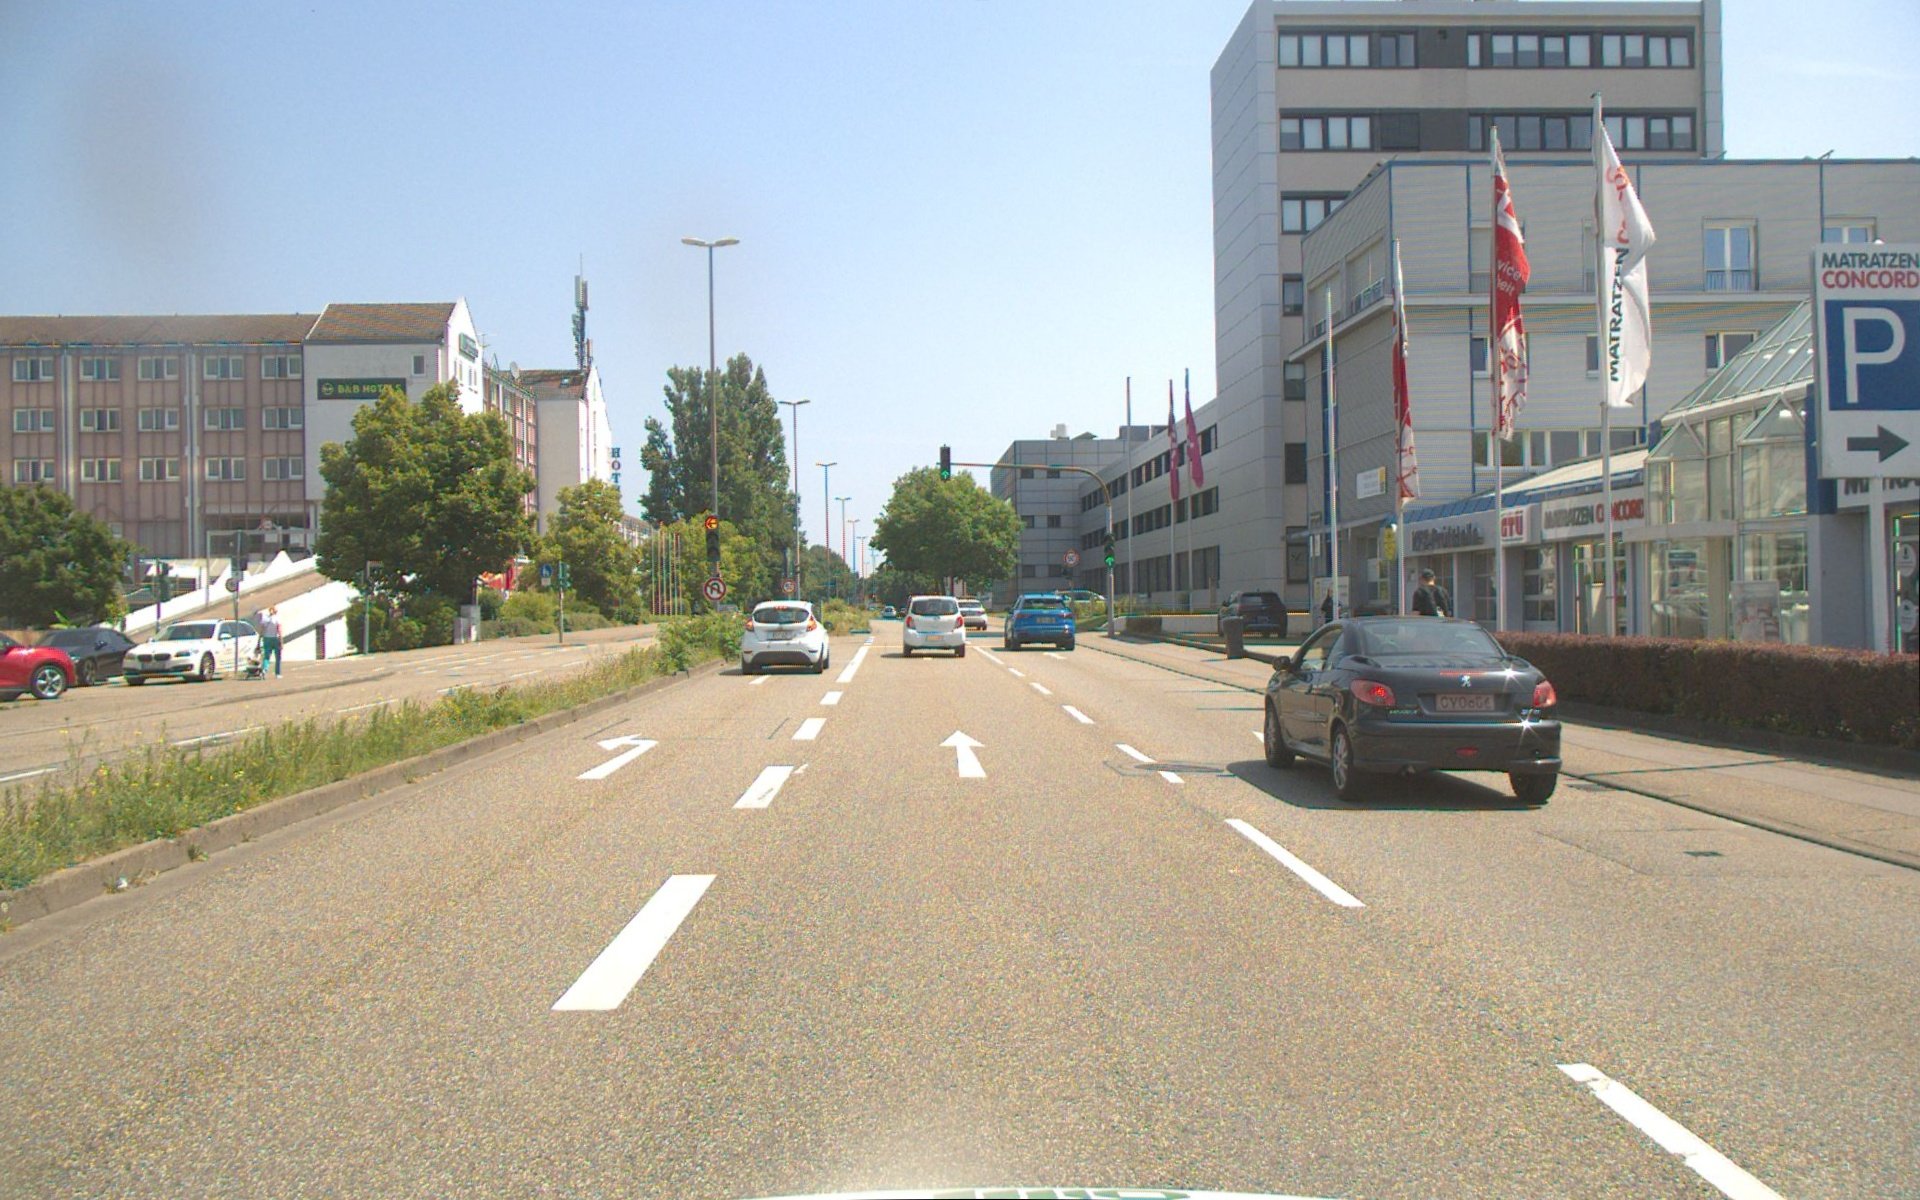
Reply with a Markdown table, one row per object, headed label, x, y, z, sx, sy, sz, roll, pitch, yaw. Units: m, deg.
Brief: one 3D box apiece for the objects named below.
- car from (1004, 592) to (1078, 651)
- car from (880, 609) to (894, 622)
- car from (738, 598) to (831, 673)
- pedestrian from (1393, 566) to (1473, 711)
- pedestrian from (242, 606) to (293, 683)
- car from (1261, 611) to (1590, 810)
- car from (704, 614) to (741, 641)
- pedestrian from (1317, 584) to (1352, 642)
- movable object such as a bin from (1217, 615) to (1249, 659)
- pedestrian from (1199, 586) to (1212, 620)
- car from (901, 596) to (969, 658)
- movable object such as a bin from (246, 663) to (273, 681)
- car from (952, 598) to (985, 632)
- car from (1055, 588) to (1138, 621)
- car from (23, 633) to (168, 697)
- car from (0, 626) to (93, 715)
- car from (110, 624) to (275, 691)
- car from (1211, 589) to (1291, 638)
| label | x | y | z | sx | sy | sz | roll | pitch | yaw |
| --- | --- | --- | --- | --- | --- | --- | --- | --- | --- |
| car | 2.326 | 0.611 | 48.268 | 1.791 | 1.608 | 3.603 | -1 | 0 | -3 |
| car | -10.195 | 2.191 | 231.194 | 1.783 | 1.691 | 3.997 | -1 | 0 | -3 |
| car | -3.636 | 0.711 | 34.779 | 1.654 | 1.459 | 3.710 | -1 | 0 | -2 |
| pedestrian | 6.339 | 0.507 | 22.219 | 0.769 | 1.879 | 0.936 | -1 | 0 | 0 |
| pedestrian | -16.276 | 1.030 | 38.867 | 0.725 | 1.777 | 1.033 | -1 | 0 | 0 |
| car | 3.665 | 0.799 | 13.635 | 1.594 | 1.388 | 3.604 | 0 | 0 | -2 |
| car | -14.404 | 1.633 | 100.614 | 1.955 | 1.512 | 4.496 | -2 | 0 | -5 |
| pedestrian | 10.850 | 0.366 | 47.893 | 0.793 | 1.655 | 0.853 | -1 | 0 | 1 |
| movable object such as a bin | 6.132 | 0.836 | 37.182 | 0.540 | 0.935 | 0.652 | -4 | 0 | -2 |
| pedestrian | 12.264 | 0.165 | 82.624 | 0.580 | 1.663 | 0.523 | -2 | 0 | 6 |
| car | -0.666 | 0.677 | 43.487 | 1.713 | 1.547 | 3.745 | 0 | 0 | -1 |
| movable object such as a bin | -16.279 | 1.680 | 38.452 | 0.408 | 0.378 | 0.506 | -1 | 0 | -1 |
| car | 0.408 | 0.677 | 77.939 | 1.527 | 1.546 | 3.605 | -1 | 0 | 0 |
| car | 7.471 | 0.238 | 90.610 | 4.178 | 1.718 | 1.997 | -1 | 0 | -7 |
| car | -21.214 | 1.559 | 40.753 | 1.698 | 1.375 | 3.996 | -2 | 0 | -5 |
| car | -19.422 | 1.408 | 32.167 | 1.803 | 1.671 | 4.163 | -2 | 0 | 36 |
| car | -18.637 | 1.347 | 40.401 | 1.739 | 1.435 | 4.759 | -1 | 0 | 1 |
| car | 9.737 | 0.436 | 55.549 | 1.807 | 1.558 | 4.195 | 0 | 0 | -2 |
